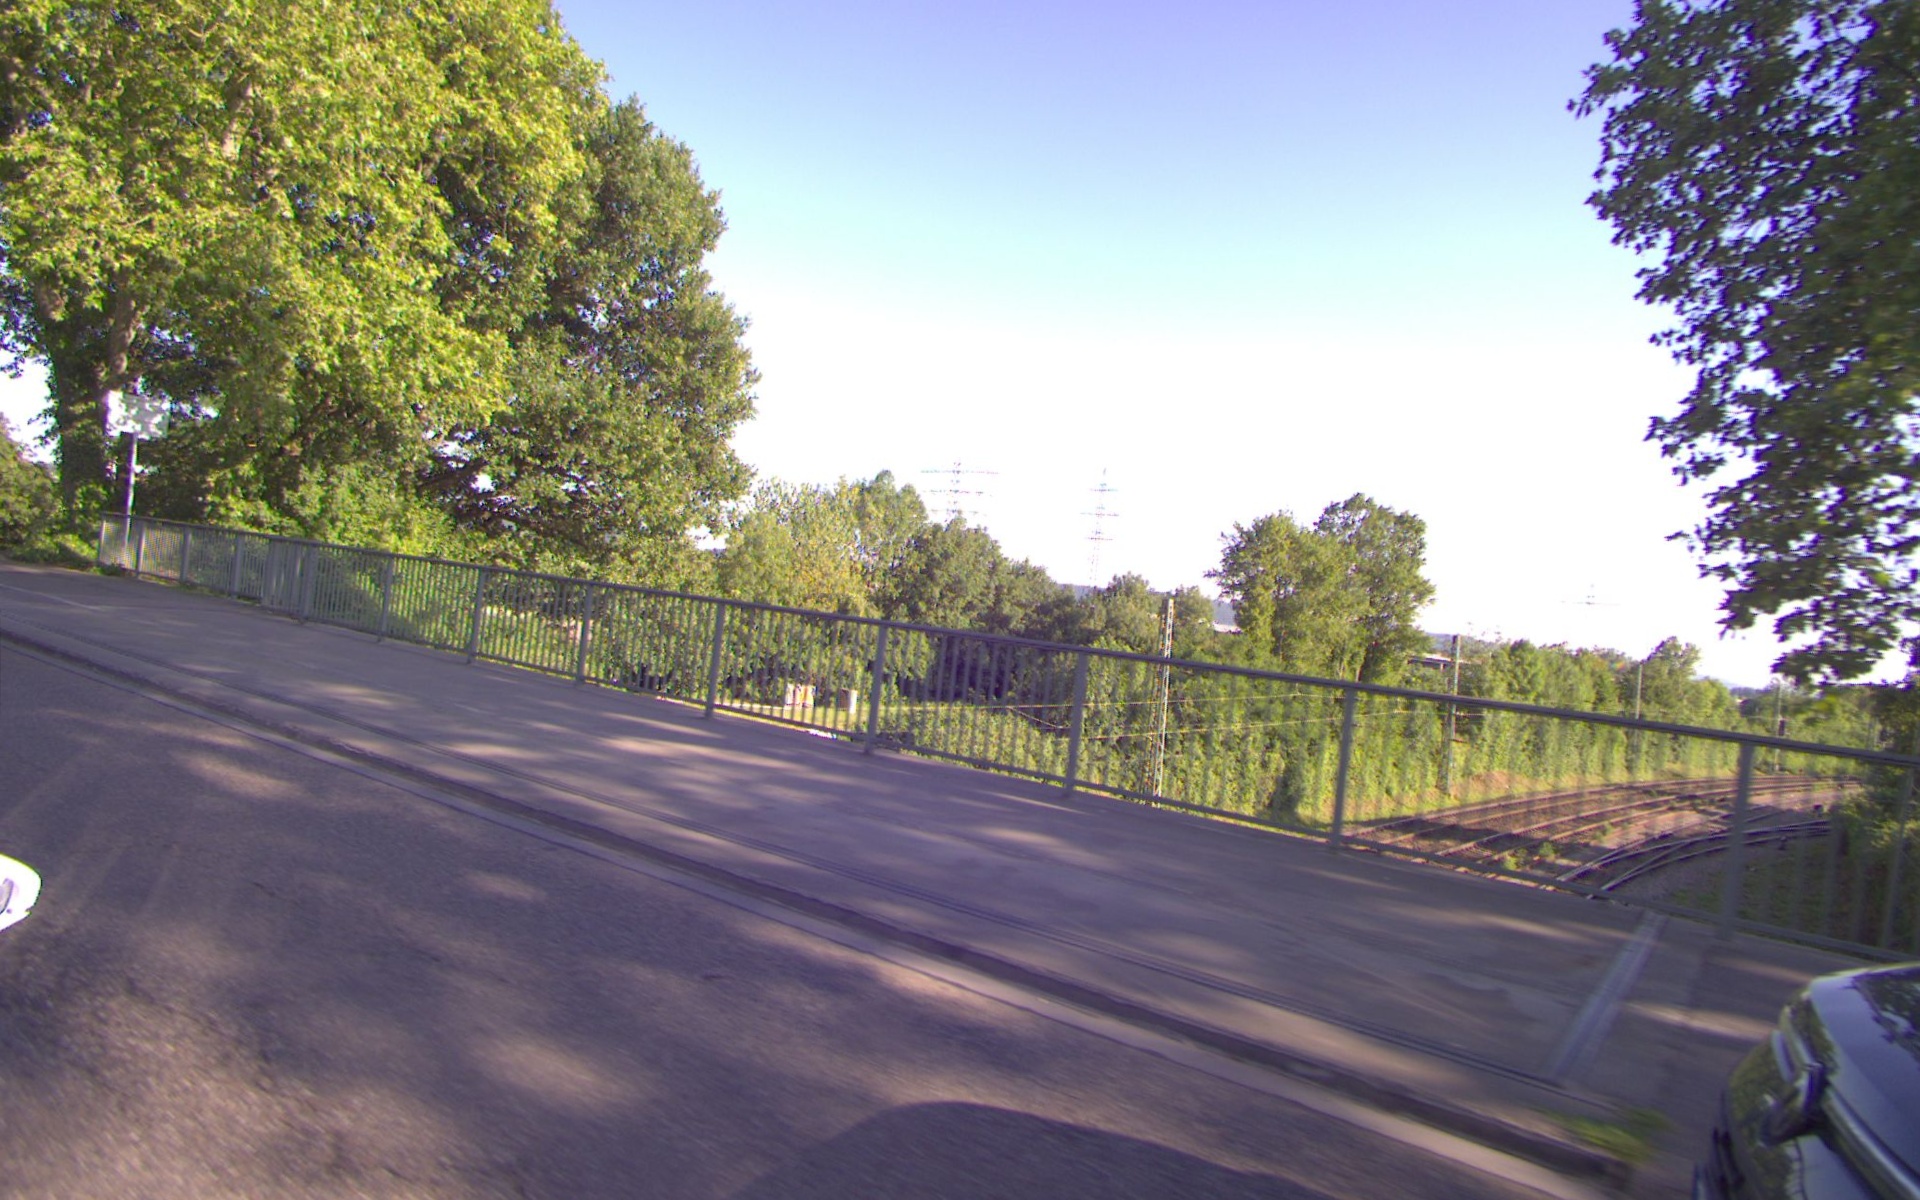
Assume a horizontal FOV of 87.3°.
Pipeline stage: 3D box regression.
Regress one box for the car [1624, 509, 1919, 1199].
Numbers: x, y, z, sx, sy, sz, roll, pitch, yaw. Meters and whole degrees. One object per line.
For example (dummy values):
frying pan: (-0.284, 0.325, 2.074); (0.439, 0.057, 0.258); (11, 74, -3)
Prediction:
car: (3.174, 1.023, 0.658); (4.366, 1.681, 1.847); (7, 0, 31)
